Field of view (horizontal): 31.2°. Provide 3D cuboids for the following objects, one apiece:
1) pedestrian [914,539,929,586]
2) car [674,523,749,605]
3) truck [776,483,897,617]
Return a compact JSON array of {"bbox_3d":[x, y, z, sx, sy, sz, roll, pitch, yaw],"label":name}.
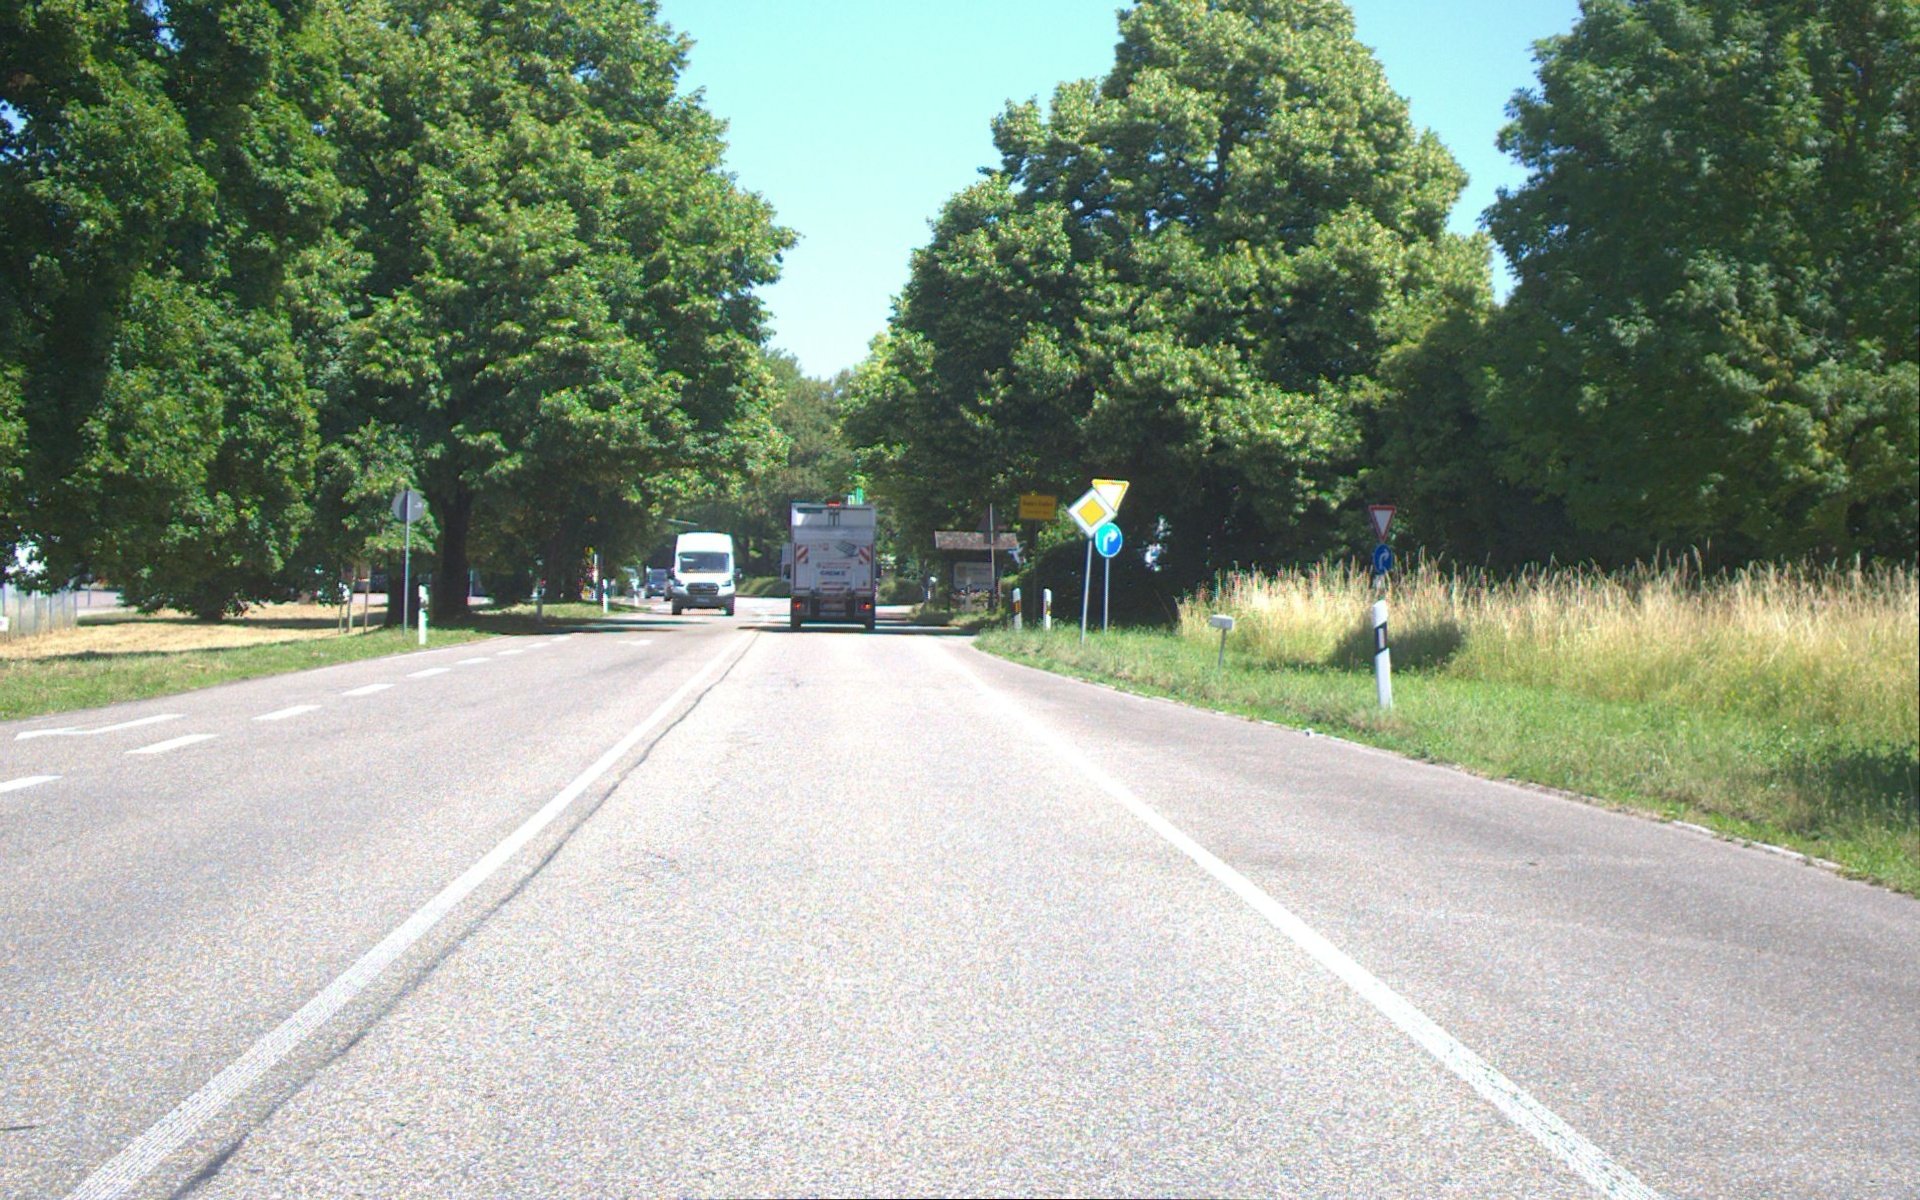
[{"bbox_3d":[-1.462,-1.423,130.873,0.548,1.770,0.577,0,0,2],"label":"pedestrian"},{"bbox_3d":[-8.144,-1.169,113.182,2.073,2.618,6.784,0,0,-1],"label":"car"},{"bbox_3d":[-2.945,-1.230,83.083,2.534,3.124,5.361,0,1,2],"label":"truck"}]
